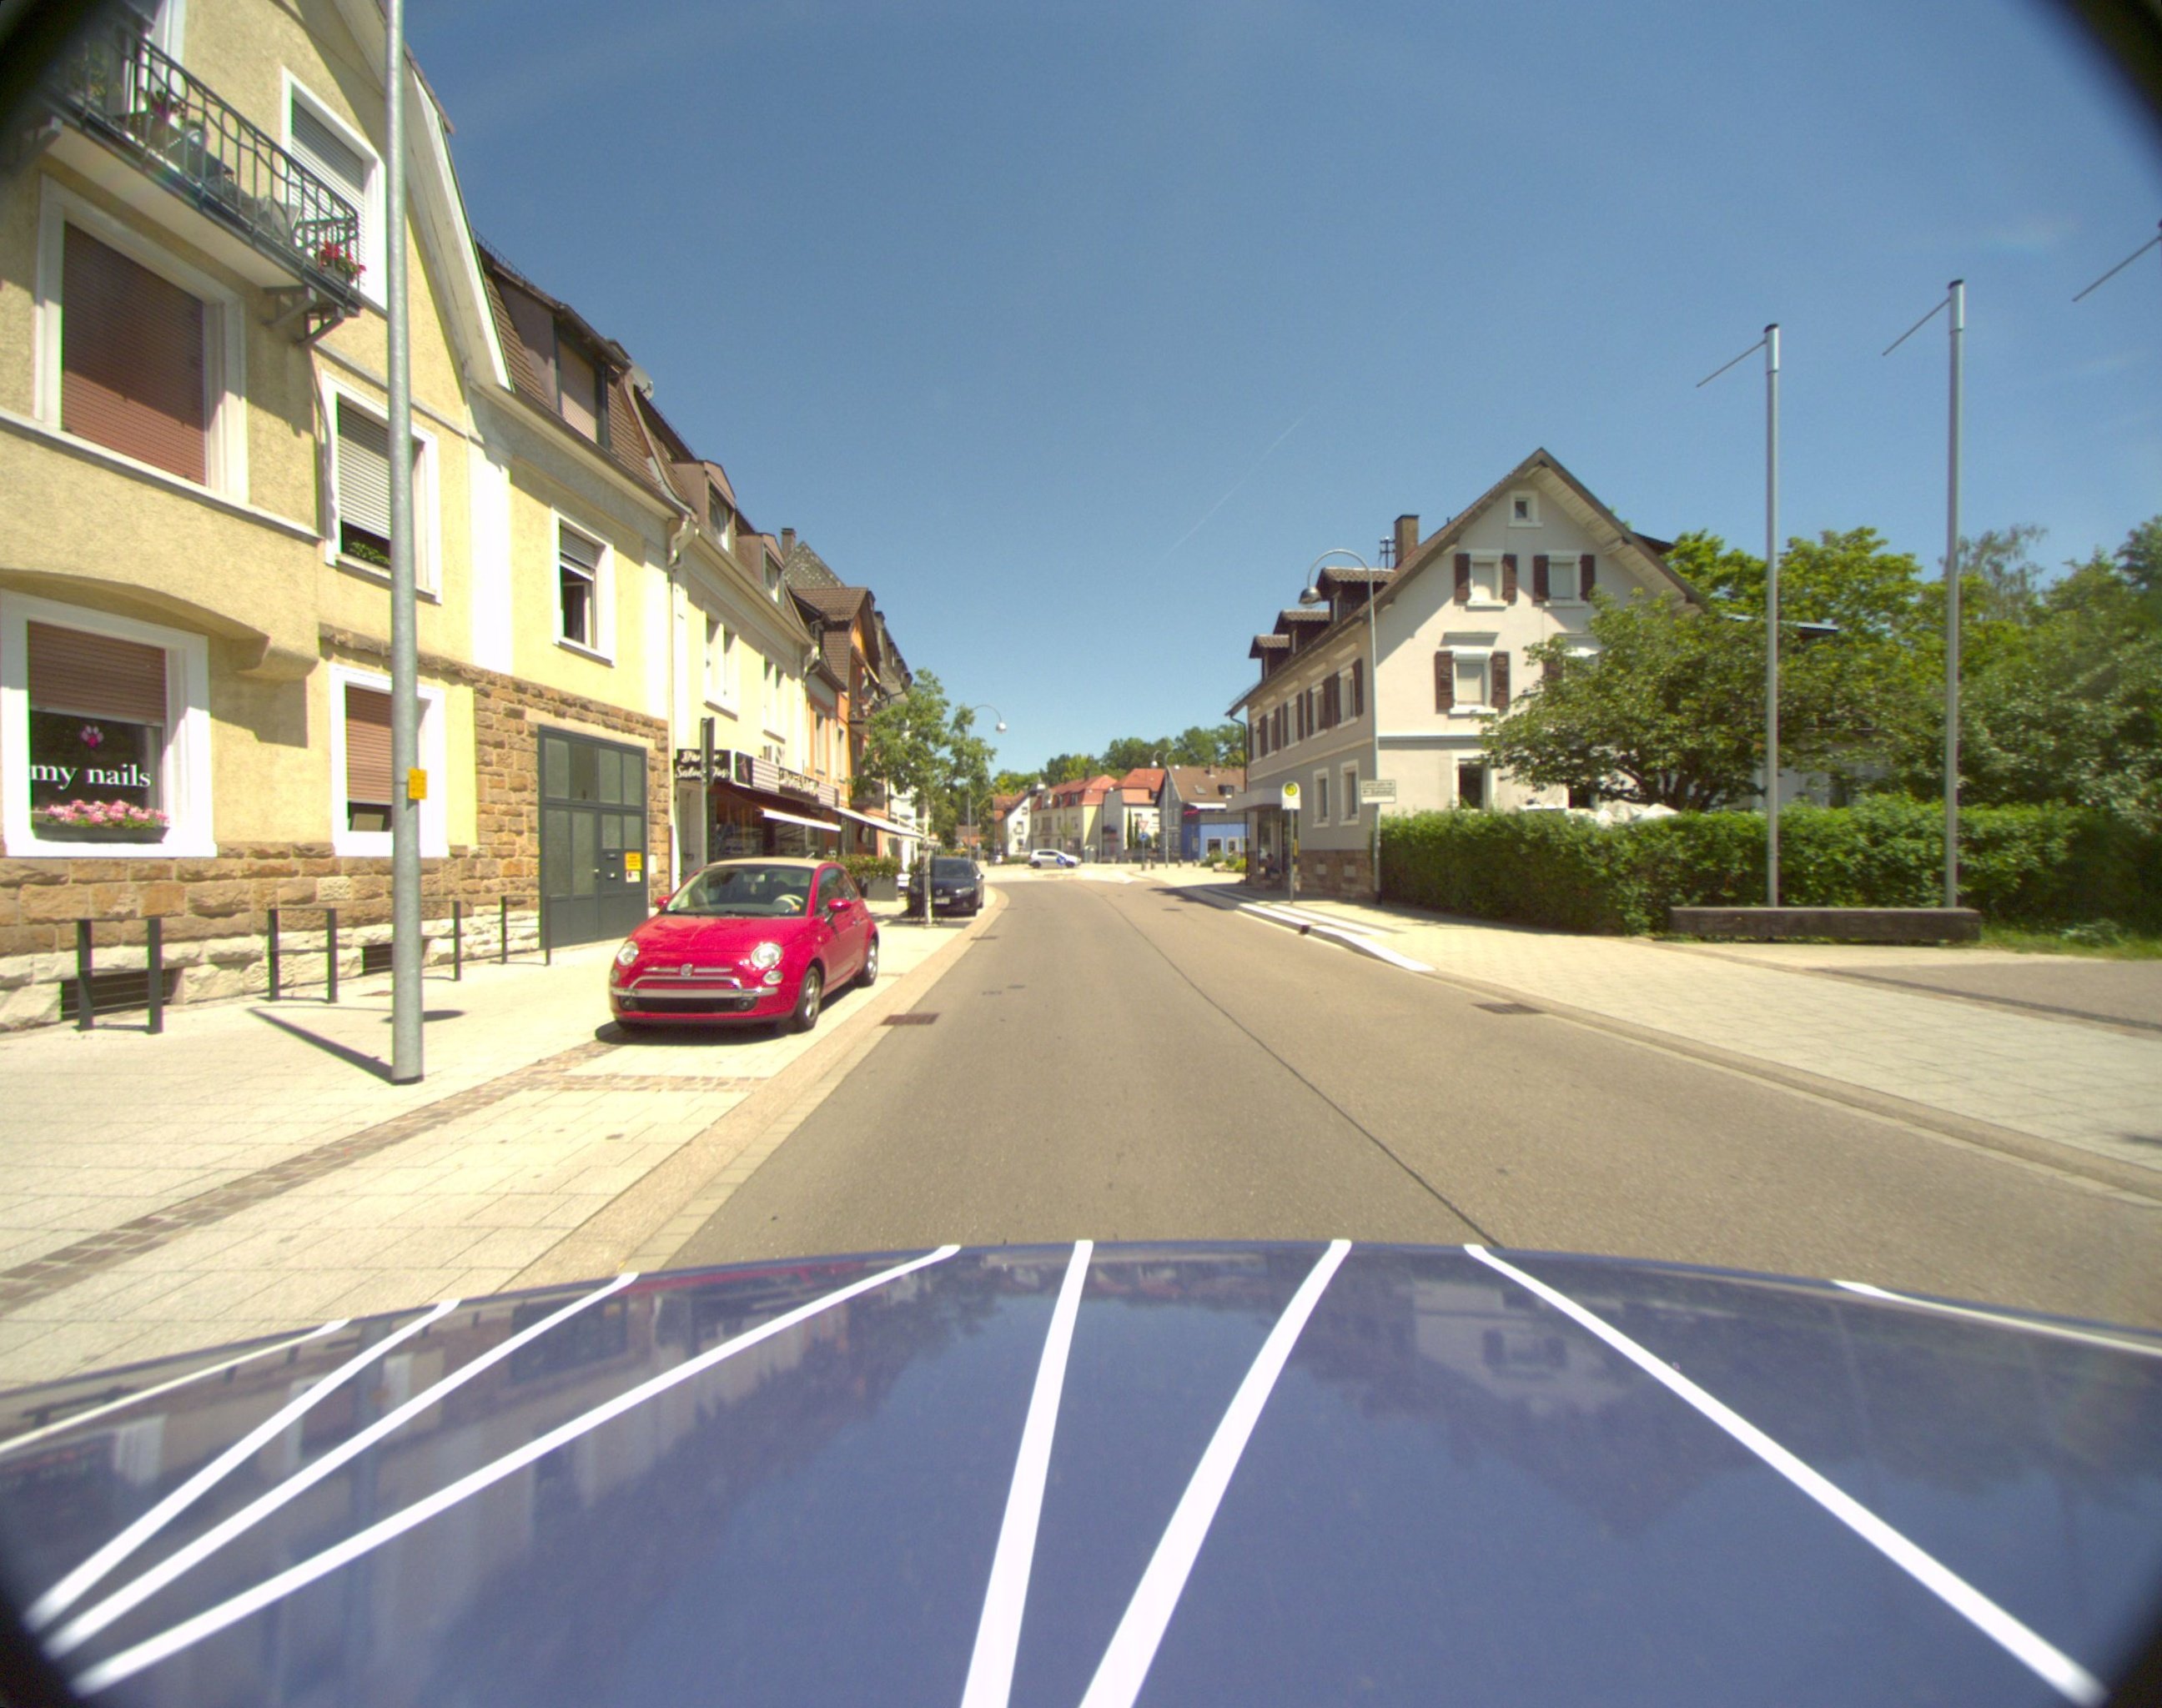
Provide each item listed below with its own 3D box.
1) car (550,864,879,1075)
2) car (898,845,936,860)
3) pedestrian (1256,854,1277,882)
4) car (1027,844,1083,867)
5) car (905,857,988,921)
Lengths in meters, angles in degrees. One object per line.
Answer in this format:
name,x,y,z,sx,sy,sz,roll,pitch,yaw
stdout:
car,-3.214,0.903,7.436,1.684,1.505,3.385,1,0,-3
car,-29.133,-0.300,135.044,6.365,2.447,2.305,-2,1,-12
pedestrian,6.960,0.521,28.512,0.598,1.053,0.567,-1,1,-5
car,-2.023,0.104,59.214,4.187,1.587,1.999,-2,3,1
car,-3.512,0.861,20.548,1.735,1.464,4.321,2,0,-4
